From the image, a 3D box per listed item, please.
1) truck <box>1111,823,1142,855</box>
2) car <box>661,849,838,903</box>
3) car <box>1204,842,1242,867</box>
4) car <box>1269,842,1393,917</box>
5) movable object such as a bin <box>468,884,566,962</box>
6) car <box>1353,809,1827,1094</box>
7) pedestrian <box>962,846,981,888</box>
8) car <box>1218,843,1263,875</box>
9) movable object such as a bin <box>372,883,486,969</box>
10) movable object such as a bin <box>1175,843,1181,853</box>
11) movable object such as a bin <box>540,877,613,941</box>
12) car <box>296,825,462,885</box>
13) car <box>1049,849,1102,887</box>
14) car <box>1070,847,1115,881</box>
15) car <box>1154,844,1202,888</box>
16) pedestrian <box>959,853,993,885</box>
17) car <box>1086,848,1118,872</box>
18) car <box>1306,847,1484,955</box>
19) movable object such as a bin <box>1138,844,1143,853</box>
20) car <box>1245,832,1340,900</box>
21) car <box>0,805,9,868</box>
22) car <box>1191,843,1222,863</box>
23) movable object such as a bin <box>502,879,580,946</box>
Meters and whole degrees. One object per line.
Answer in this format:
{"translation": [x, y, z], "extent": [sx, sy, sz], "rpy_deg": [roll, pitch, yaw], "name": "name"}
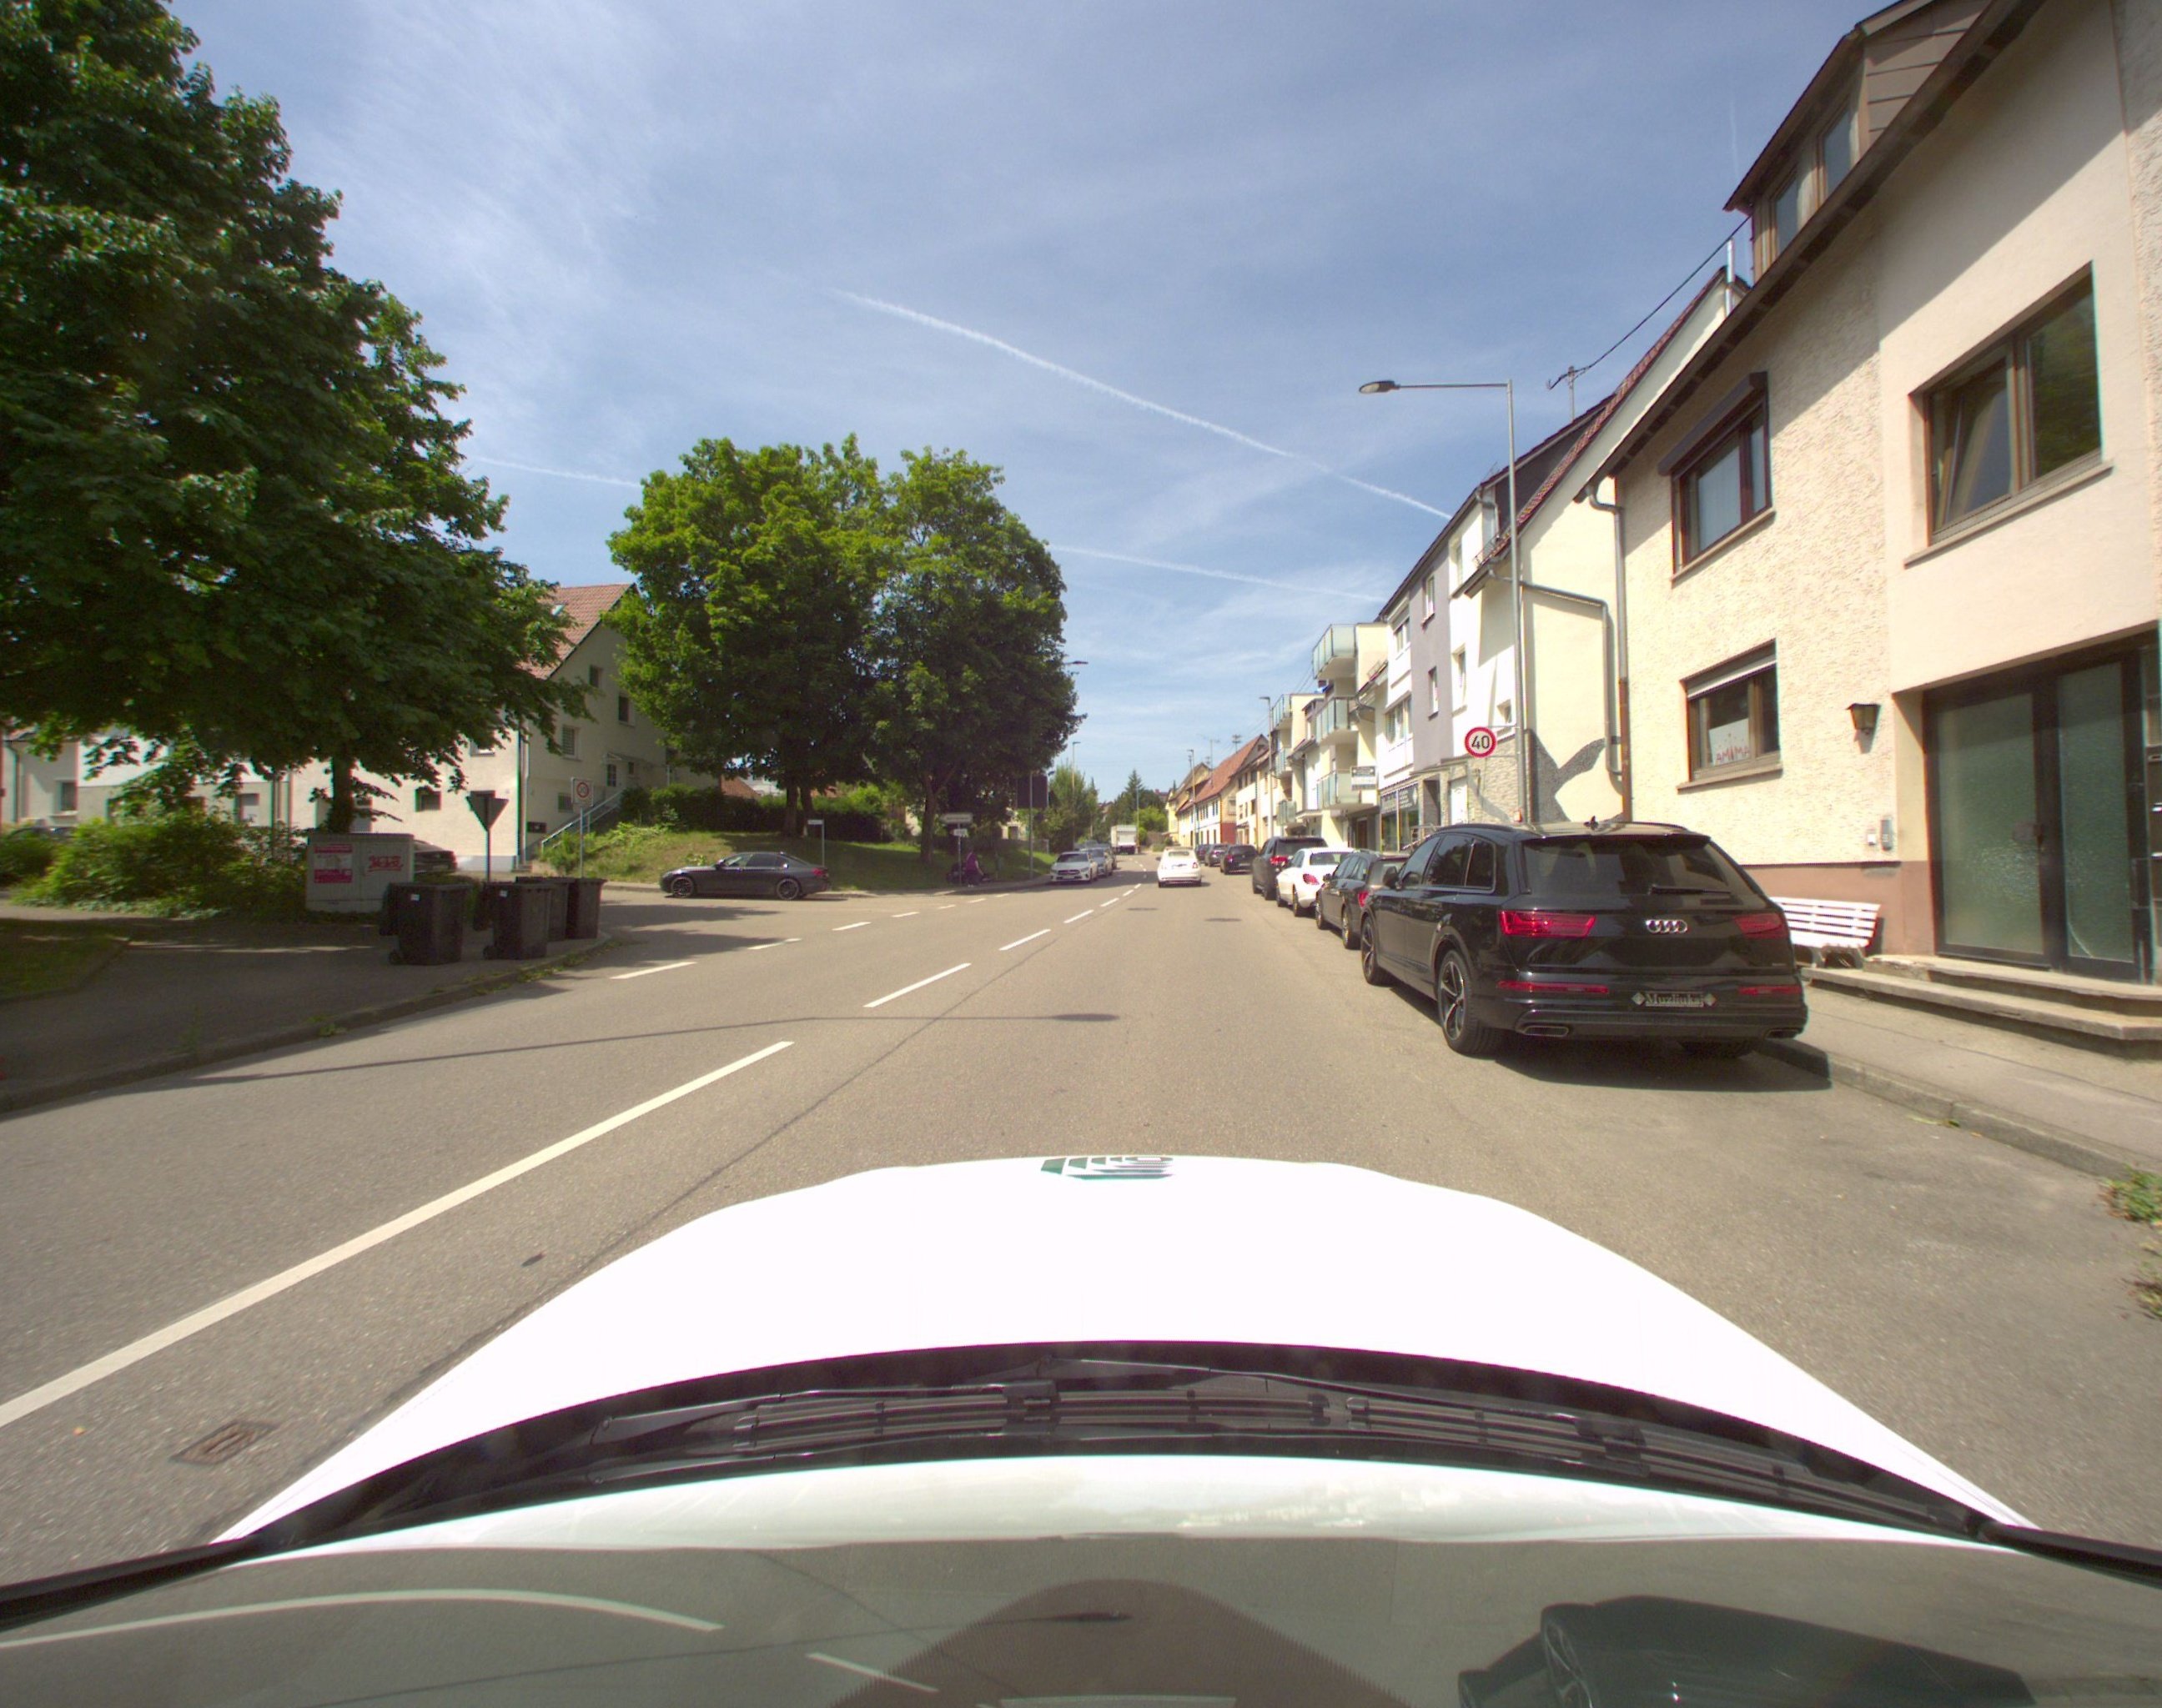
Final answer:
{"translation": [5.706, -1.823, 102.838], "extent": [3.061, 3.773, 7.859], "rpy_deg": [-2, 0, -3], "name": "truck"}
{"translation": [-10.258, 0.680, 25.570], "extent": [4.777, 1.479, 1.992], "rpy_deg": [2, 0, -12], "name": "car"}
{"translation": [8.782, 0.020, 50.627], "extent": [1.786, 1.402, 4.415], "rpy_deg": [-3, 1, 3], "name": "car"}
{"translation": [5.518, 0.470, 18.560], "extent": [1.780, 1.455, 4.724], "rpy_deg": [-2, 1, 6], "name": "car"}
{"translation": [-7.678, 0.926, 11.112], "extent": [0.846, 1.000, 0.696], "rpy_deg": [-1, 0, 10], "name": "movable object such as a bin"}
{"translation": [3.787, 0.567, 7.192], "extent": [1.833, 1.670, 4.666], "rpy_deg": [0, 0, 8], "name": "car"}
{"translation": [-4.273, 0.501, 31.776], "extent": [0.730, 1.616, 0.627], "rpy_deg": [0, 0, -9], "name": "pedestrian"}
{"translation": [7.753, 0.212, 39.828], "extent": [1.788, 1.424, 4.298], "rpy_deg": [-2, 0, 6], "name": "car"}
{"translation": [-8.371, 0.904, 10.486], "extent": [0.795, 1.000, 0.807], "rpy_deg": [1, 0, 10], "name": "movable object such as a bin"}
{"translation": [10.917, -0.653, 91.369], "extent": [0.545, 1.033, 0.551], "rpy_deg": [-4, 1, -2], "name": "movable object such as a bin"}
{"translation": [-8.447, 0.906, 13.651], "extent": [0.767, 1.000, 0.611], "rpy_deg": [3, -1, 10], "name": "movable object such as a bin"}
{"translation": [-22.428, 0.020, 26.091], "extent": [3.962, 1.684, 1.915], "rpy_deg": [2, 0, 11], "name": "car"}
{"translation": [-0.174, 0.578, 36.777], "extent": [1.745, 1.467, 4.372], "rpy_deg": [-3, 0, 7], "name": "car"}
{"translation": [0.668, 0.488, 42.744], "extent": [1.762, 1.527, 4.232], "rpy_deg": [-3, 0, 8], "name": "car"}
{"translation": [3.780, 0.426, 31.681], "extent": [1.715, 1.560, 4.008], "rpy_deg": [-1, 1, 7], "name": "car"}
{"translation": [-4.334, 0.611, 33.628], "extent": [1.228, 1.269, 0.648], "rpy_deg": [0, 0, 11], "name": "pedestrian"}
{"translation": [1.466, 0.360, 54.509], "extent": [1.796, 1.423, 4.934], "rpy_deg": [-2, 1, 4], "name": "car"}
{"translation": [4.898, 0.638, 13.346], "extent": [1.778, 1.420, 4.369], "rpy_deg": [-1, 1, 8], "name": "car"}
{"translation": [8.001, -0.734, 109.255], "extent": [0.490, 1.033, 0.551], "rpy_deg": [-5, 1, 19], "name": "movable object such as a bin"}
{"translation": [5.993, 0.274, 23.629], "extent": [1.944, 1.716, 4.724], "rpy_deg": [2, 1, 6], "name": "car"}
{"translation": [-28.278, -0.405, 18.574], "extent": [1.982, 1.567, 4.156], "rpy_deg": [-1, 1, 8], "name": "car"}
{"translation": [9.141, -0.092, 59.549], "extent": [1.660, 1.352, 4.187], "rpy_deg": [-1, 1, 0], "name": "car"}
{"translation": [-8.640, 0.917, 13.045], "extent": [0.767, 1.000, 0.610], "rpy_deg": [3, -1, 10], "name": "movable object such as a bin"}
